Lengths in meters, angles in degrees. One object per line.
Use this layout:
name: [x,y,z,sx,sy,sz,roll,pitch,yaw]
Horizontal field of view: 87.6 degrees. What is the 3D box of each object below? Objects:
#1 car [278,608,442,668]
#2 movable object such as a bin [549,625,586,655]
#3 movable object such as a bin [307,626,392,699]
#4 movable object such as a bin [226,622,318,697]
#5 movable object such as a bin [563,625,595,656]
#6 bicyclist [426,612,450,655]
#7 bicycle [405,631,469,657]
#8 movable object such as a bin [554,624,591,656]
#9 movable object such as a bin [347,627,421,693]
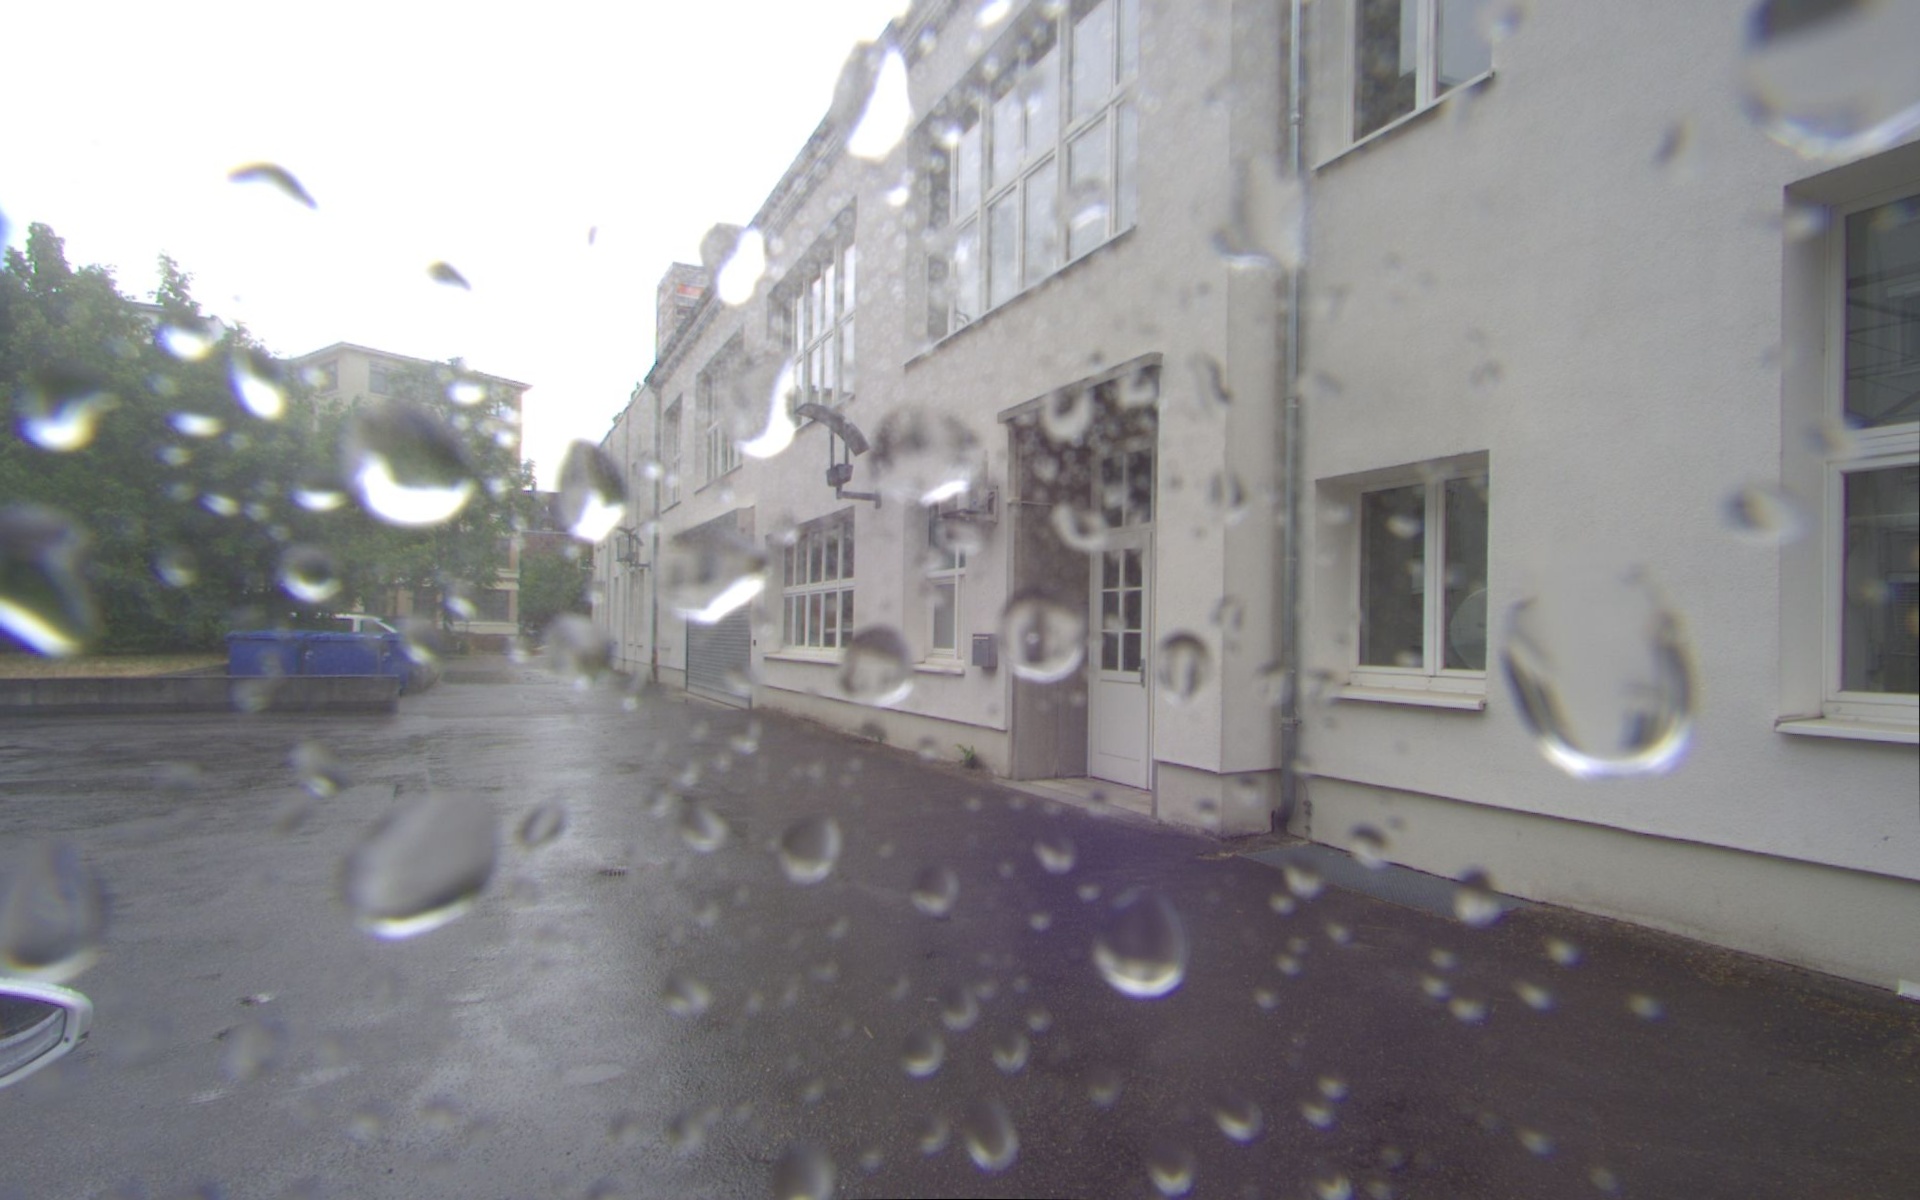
car: [-20.585,1.317,34.603,4.623,1.904,2.117,0,-4,-25]
movable object such as a bin: [-19.133,1.950,48.839,1.472,1.466,1.307,1,-3,-32]
movable object such as a bin: [-12.181,1.247,20.051,1.294,1.374,1.898,0,-3,-27]
movable object such as a bin: [-13.331,1.144,19.481,1.215,1.374,1.964,0,-3,-27]
movable object such as a bin: [-17.644,1.893,46.310,1.172,1.391,1.307,0,-3,-31]
bicyclist: [-25.259,1.624,48.432,0.736,2.040,0.705,1,-1,34]
bicycle: [-25.270,2.125,48.430,0.727,1.201,2.725,0,-1,34]
movable object such as a bin: [-18.459,1.909,47.678,1.472,1.466,1.307,1,-3,-32]
movable object such as a bin: [-12.612,1.313,21.994,1.294,1.374,1.898,0,-3,-27]
